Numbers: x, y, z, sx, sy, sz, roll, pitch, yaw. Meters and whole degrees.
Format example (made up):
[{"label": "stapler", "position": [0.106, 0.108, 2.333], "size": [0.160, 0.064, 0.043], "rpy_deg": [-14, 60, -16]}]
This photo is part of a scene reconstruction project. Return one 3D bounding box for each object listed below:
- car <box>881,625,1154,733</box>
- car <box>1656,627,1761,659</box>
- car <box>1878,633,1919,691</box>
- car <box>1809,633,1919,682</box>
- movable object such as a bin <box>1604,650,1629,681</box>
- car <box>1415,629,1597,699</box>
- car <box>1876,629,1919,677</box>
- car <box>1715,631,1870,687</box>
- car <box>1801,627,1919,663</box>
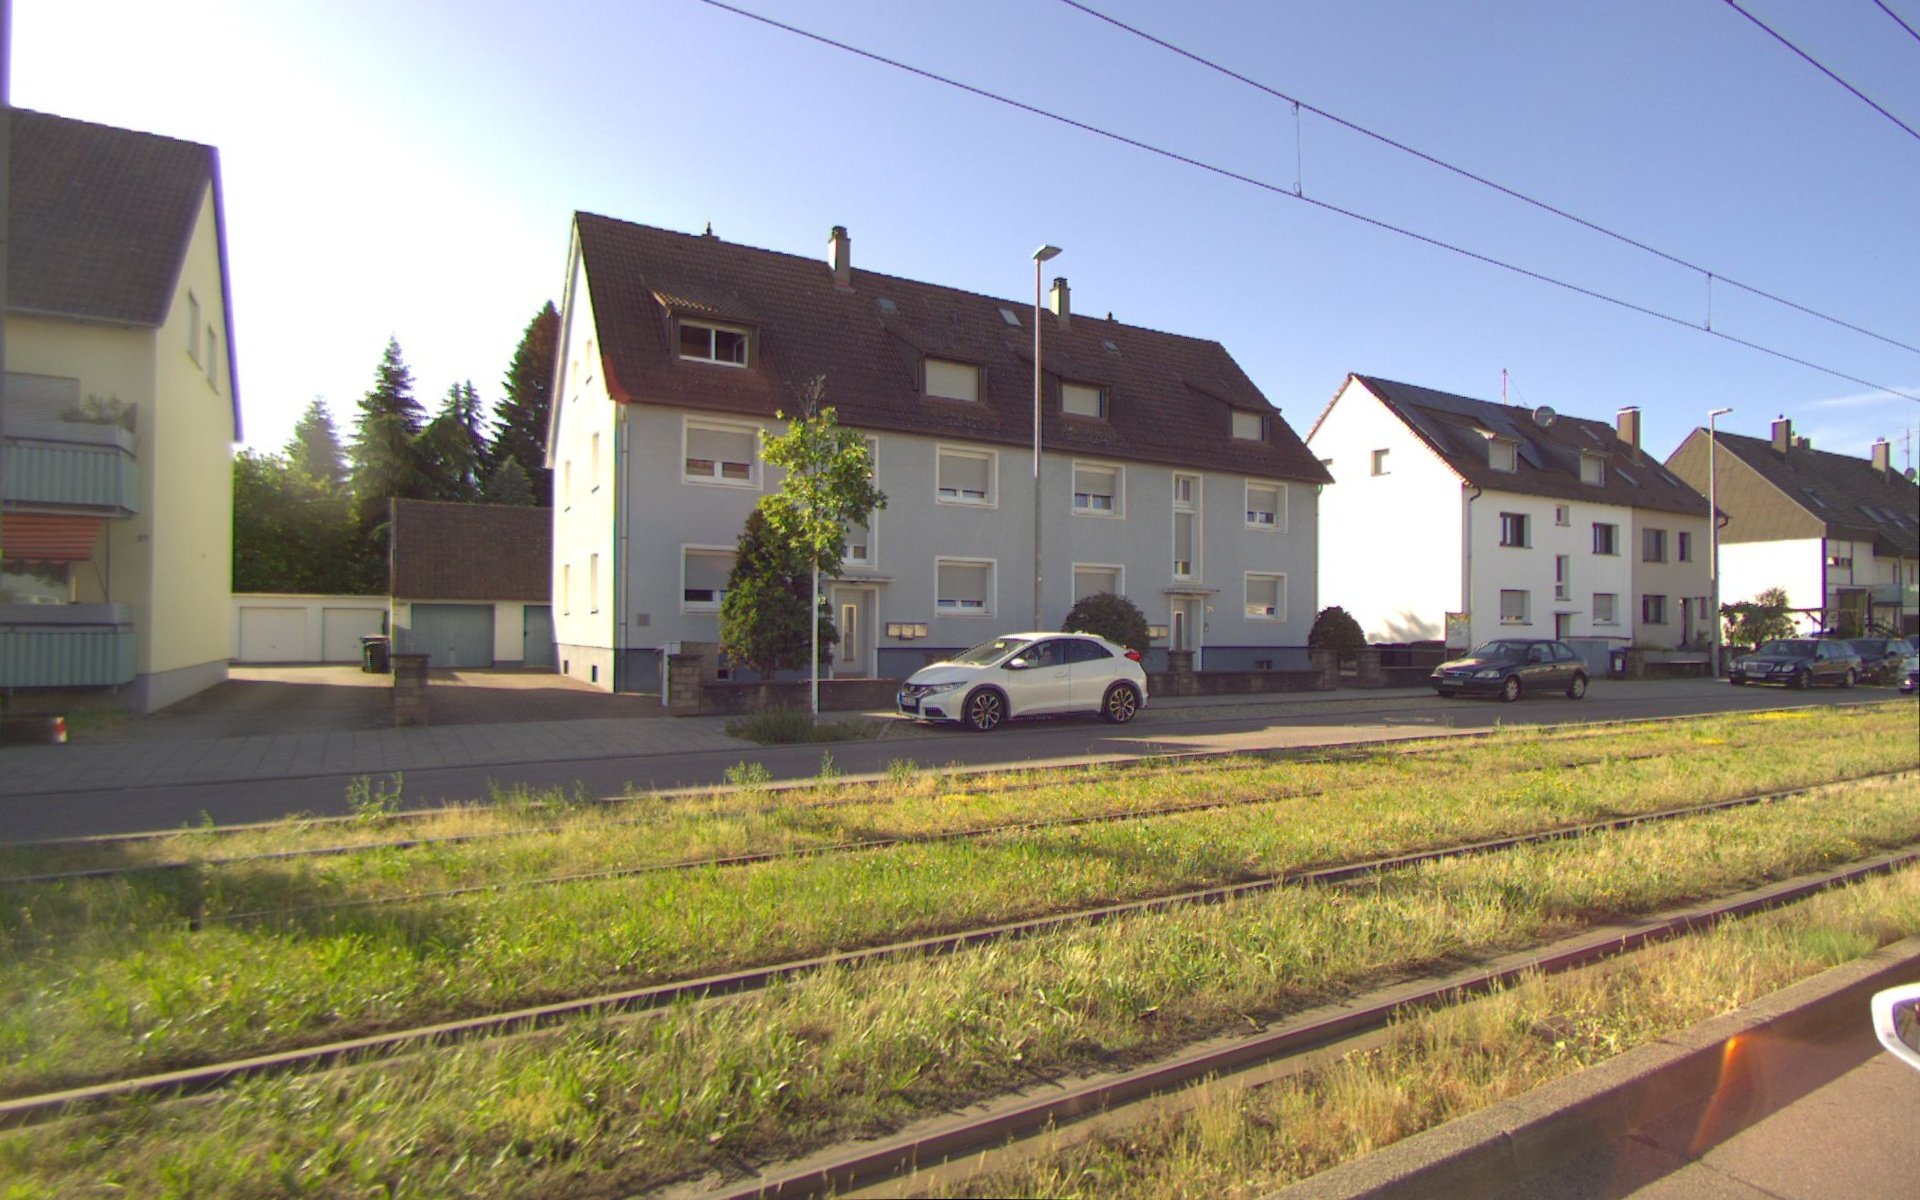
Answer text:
[{"label": "car", "position": [0.977, 1.191, 16.082], "size": [4.166, 1.538, 1.684], "rpy_deg": [1, -2, -31]}, {"label": "car", "position": [39.849, 2.259, 53.585], "size": [1.832, 1.676, 4.145], "rpy_deg": [1, -2, -26]}, {"label": "car", "position": [26.585, 1.702, 26.968], "size": [3.976, 1.510, 1.701], "rpy_deg": [3, -3, -29]}, {"label": "car", "position": [29.577, 1.836, 32.775], "size": [4.149, 1.494, 1.514], "rpy_deg": [1, -1, -29]}, {"label": "movable object such as a bin", "position": [20.179, 2.013, 30.880], "size": [0.696, 0.939, 0.386], "rpy_deg": [3, -3, -31]}, {"label": "car", "position": [12.563, 1.410, 23.076], "size": [4.115, 1.482, 1.783], "rpy_deg": [1, -2, -29]}, {"label": "car", "position": [34.328, 1.845, 35.455], "size": [4.760, 1.618, 1.793], "rpy_deg": [1, -2, -33]}, {"label": "car", "position": [25.080, 1.749, 30.230], "size": [4.817, 1.543, 1.870], "rpy_deg": [1, -1, -27]}, {"label": "car", "position": [43.068, 2.117, 47.944], "size": [1.740, 1.638, 4.142], "rpy_deg": [1, -2, -32]}]
